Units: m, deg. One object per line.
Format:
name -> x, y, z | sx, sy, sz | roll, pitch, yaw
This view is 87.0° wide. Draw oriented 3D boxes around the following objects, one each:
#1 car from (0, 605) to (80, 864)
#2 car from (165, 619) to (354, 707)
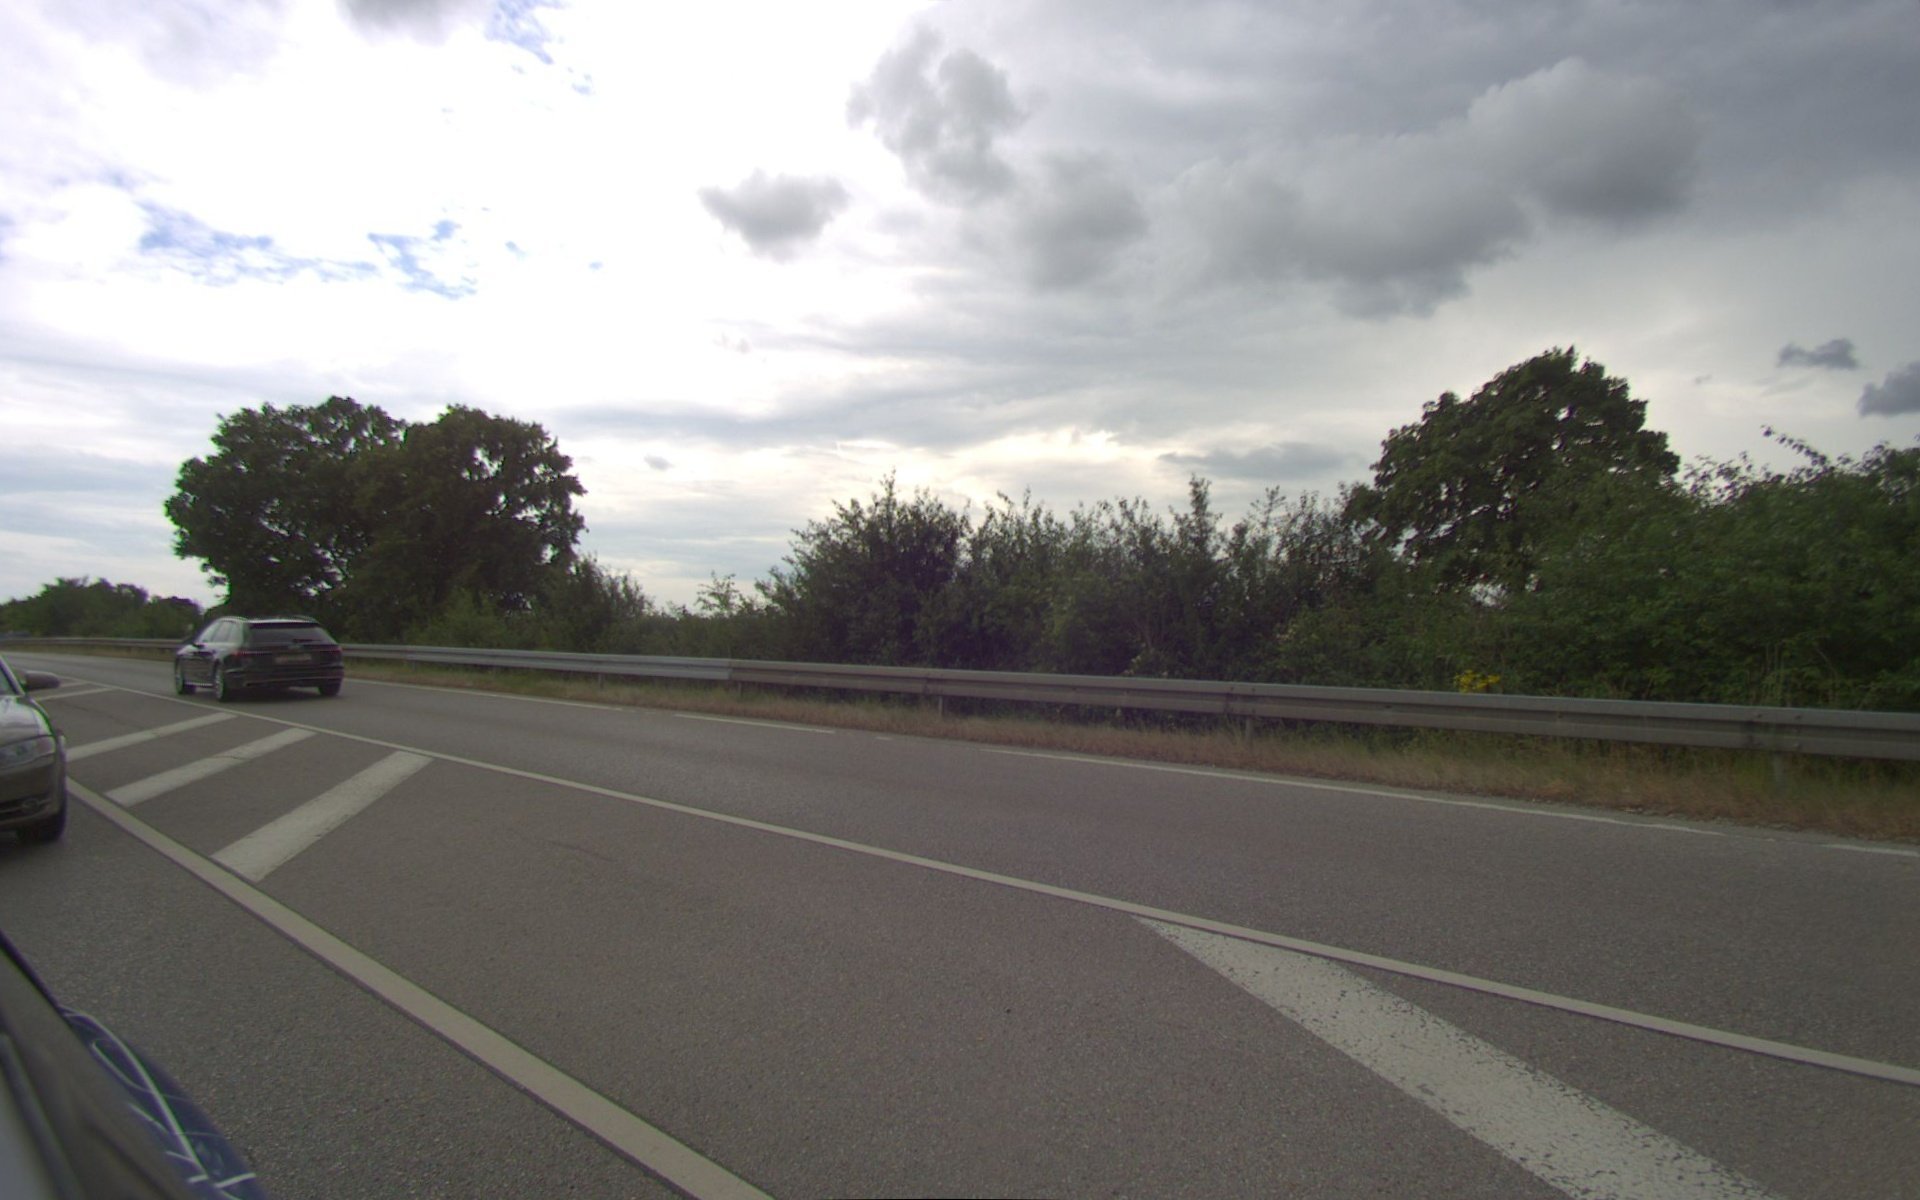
car -> -7.305, 0.804, 6.662 | 4.032, 1.461, 1.761 | -2, -2, 41
car -> -12.734, 1.044, 18.278 | 4.610, 1.385, 1.801 | -1, -1, 42
